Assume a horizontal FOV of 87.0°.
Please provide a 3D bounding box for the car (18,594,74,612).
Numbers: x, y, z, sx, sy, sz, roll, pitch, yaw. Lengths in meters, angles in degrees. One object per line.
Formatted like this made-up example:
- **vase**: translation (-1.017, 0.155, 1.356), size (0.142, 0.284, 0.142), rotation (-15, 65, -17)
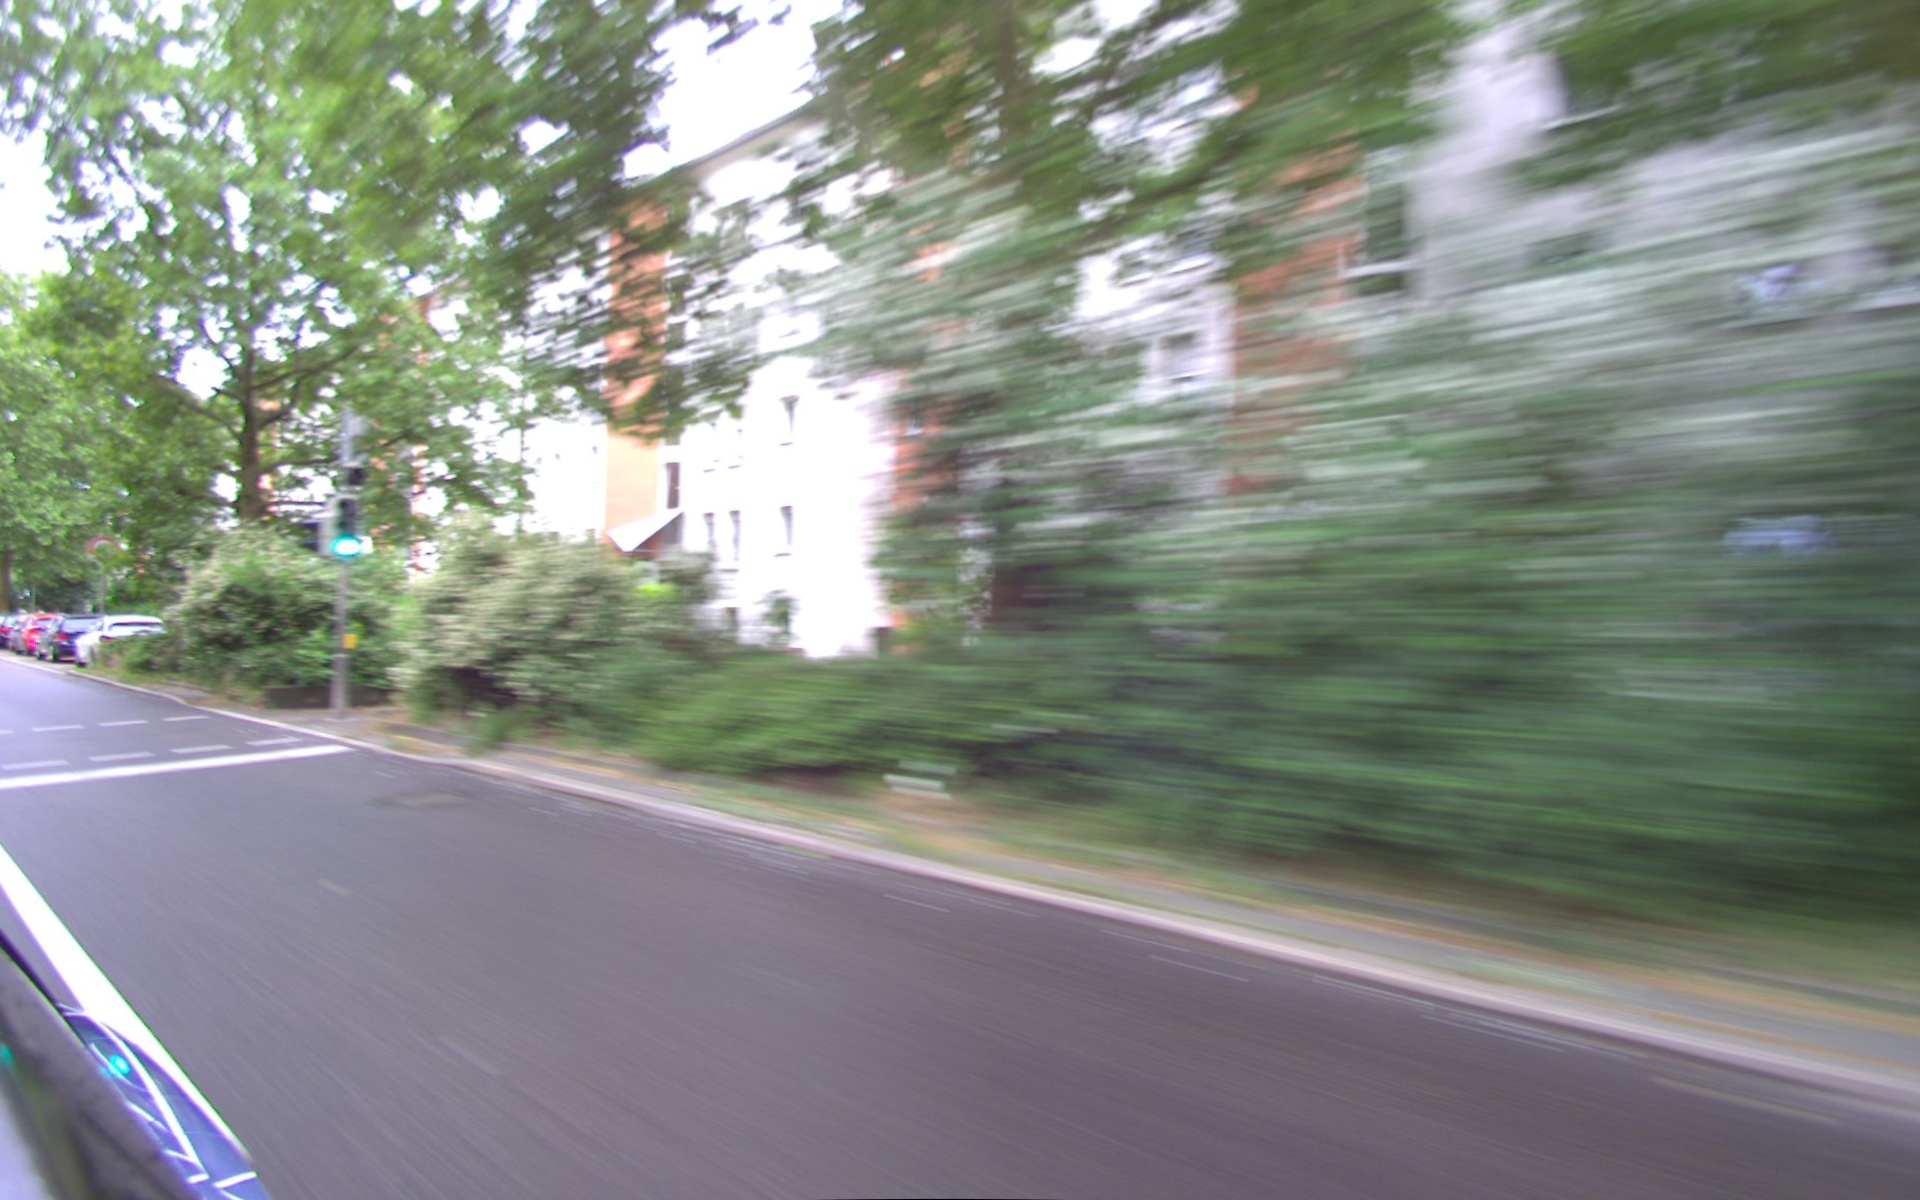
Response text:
- **car**: translation (-86.708, 0.258, 96.049), size (1.736, 1.701, 3.755), rotation (0, 1, 38)

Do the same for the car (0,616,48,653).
- **car**: translation (-40.717, 1.436, 43.390), size (4.799, 1.521, 1.700), rotation (-1, -1, 40)

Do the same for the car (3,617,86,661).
- **car**: translation (-32.885, 1.376, 36.339), size (3.752, 1.478, 1.699), rotation (-1, -1, 40)

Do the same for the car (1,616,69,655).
- **car**: translation (-36.709, 1.373, 40.137), size (3.394, 1.478, 1.540), rotation (-1, -1, 40)

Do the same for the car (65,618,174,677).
- **car**: translation (-23.130, 1.247, 27.804), size (4.308, 1.478, 1.698), rotation (-1, -1, 42)

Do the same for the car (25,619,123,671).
- **car**: translation (-27.920, 1.365, 31.851), size (4.230, 1.478, 1.699), rotation (-1, -1, 40)

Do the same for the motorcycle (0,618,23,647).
- **motorcycle**: translation (-44.506, 1.492, 46.757), size (0.722, 1.350, 1.695), rotation (-1, -3, 41)
